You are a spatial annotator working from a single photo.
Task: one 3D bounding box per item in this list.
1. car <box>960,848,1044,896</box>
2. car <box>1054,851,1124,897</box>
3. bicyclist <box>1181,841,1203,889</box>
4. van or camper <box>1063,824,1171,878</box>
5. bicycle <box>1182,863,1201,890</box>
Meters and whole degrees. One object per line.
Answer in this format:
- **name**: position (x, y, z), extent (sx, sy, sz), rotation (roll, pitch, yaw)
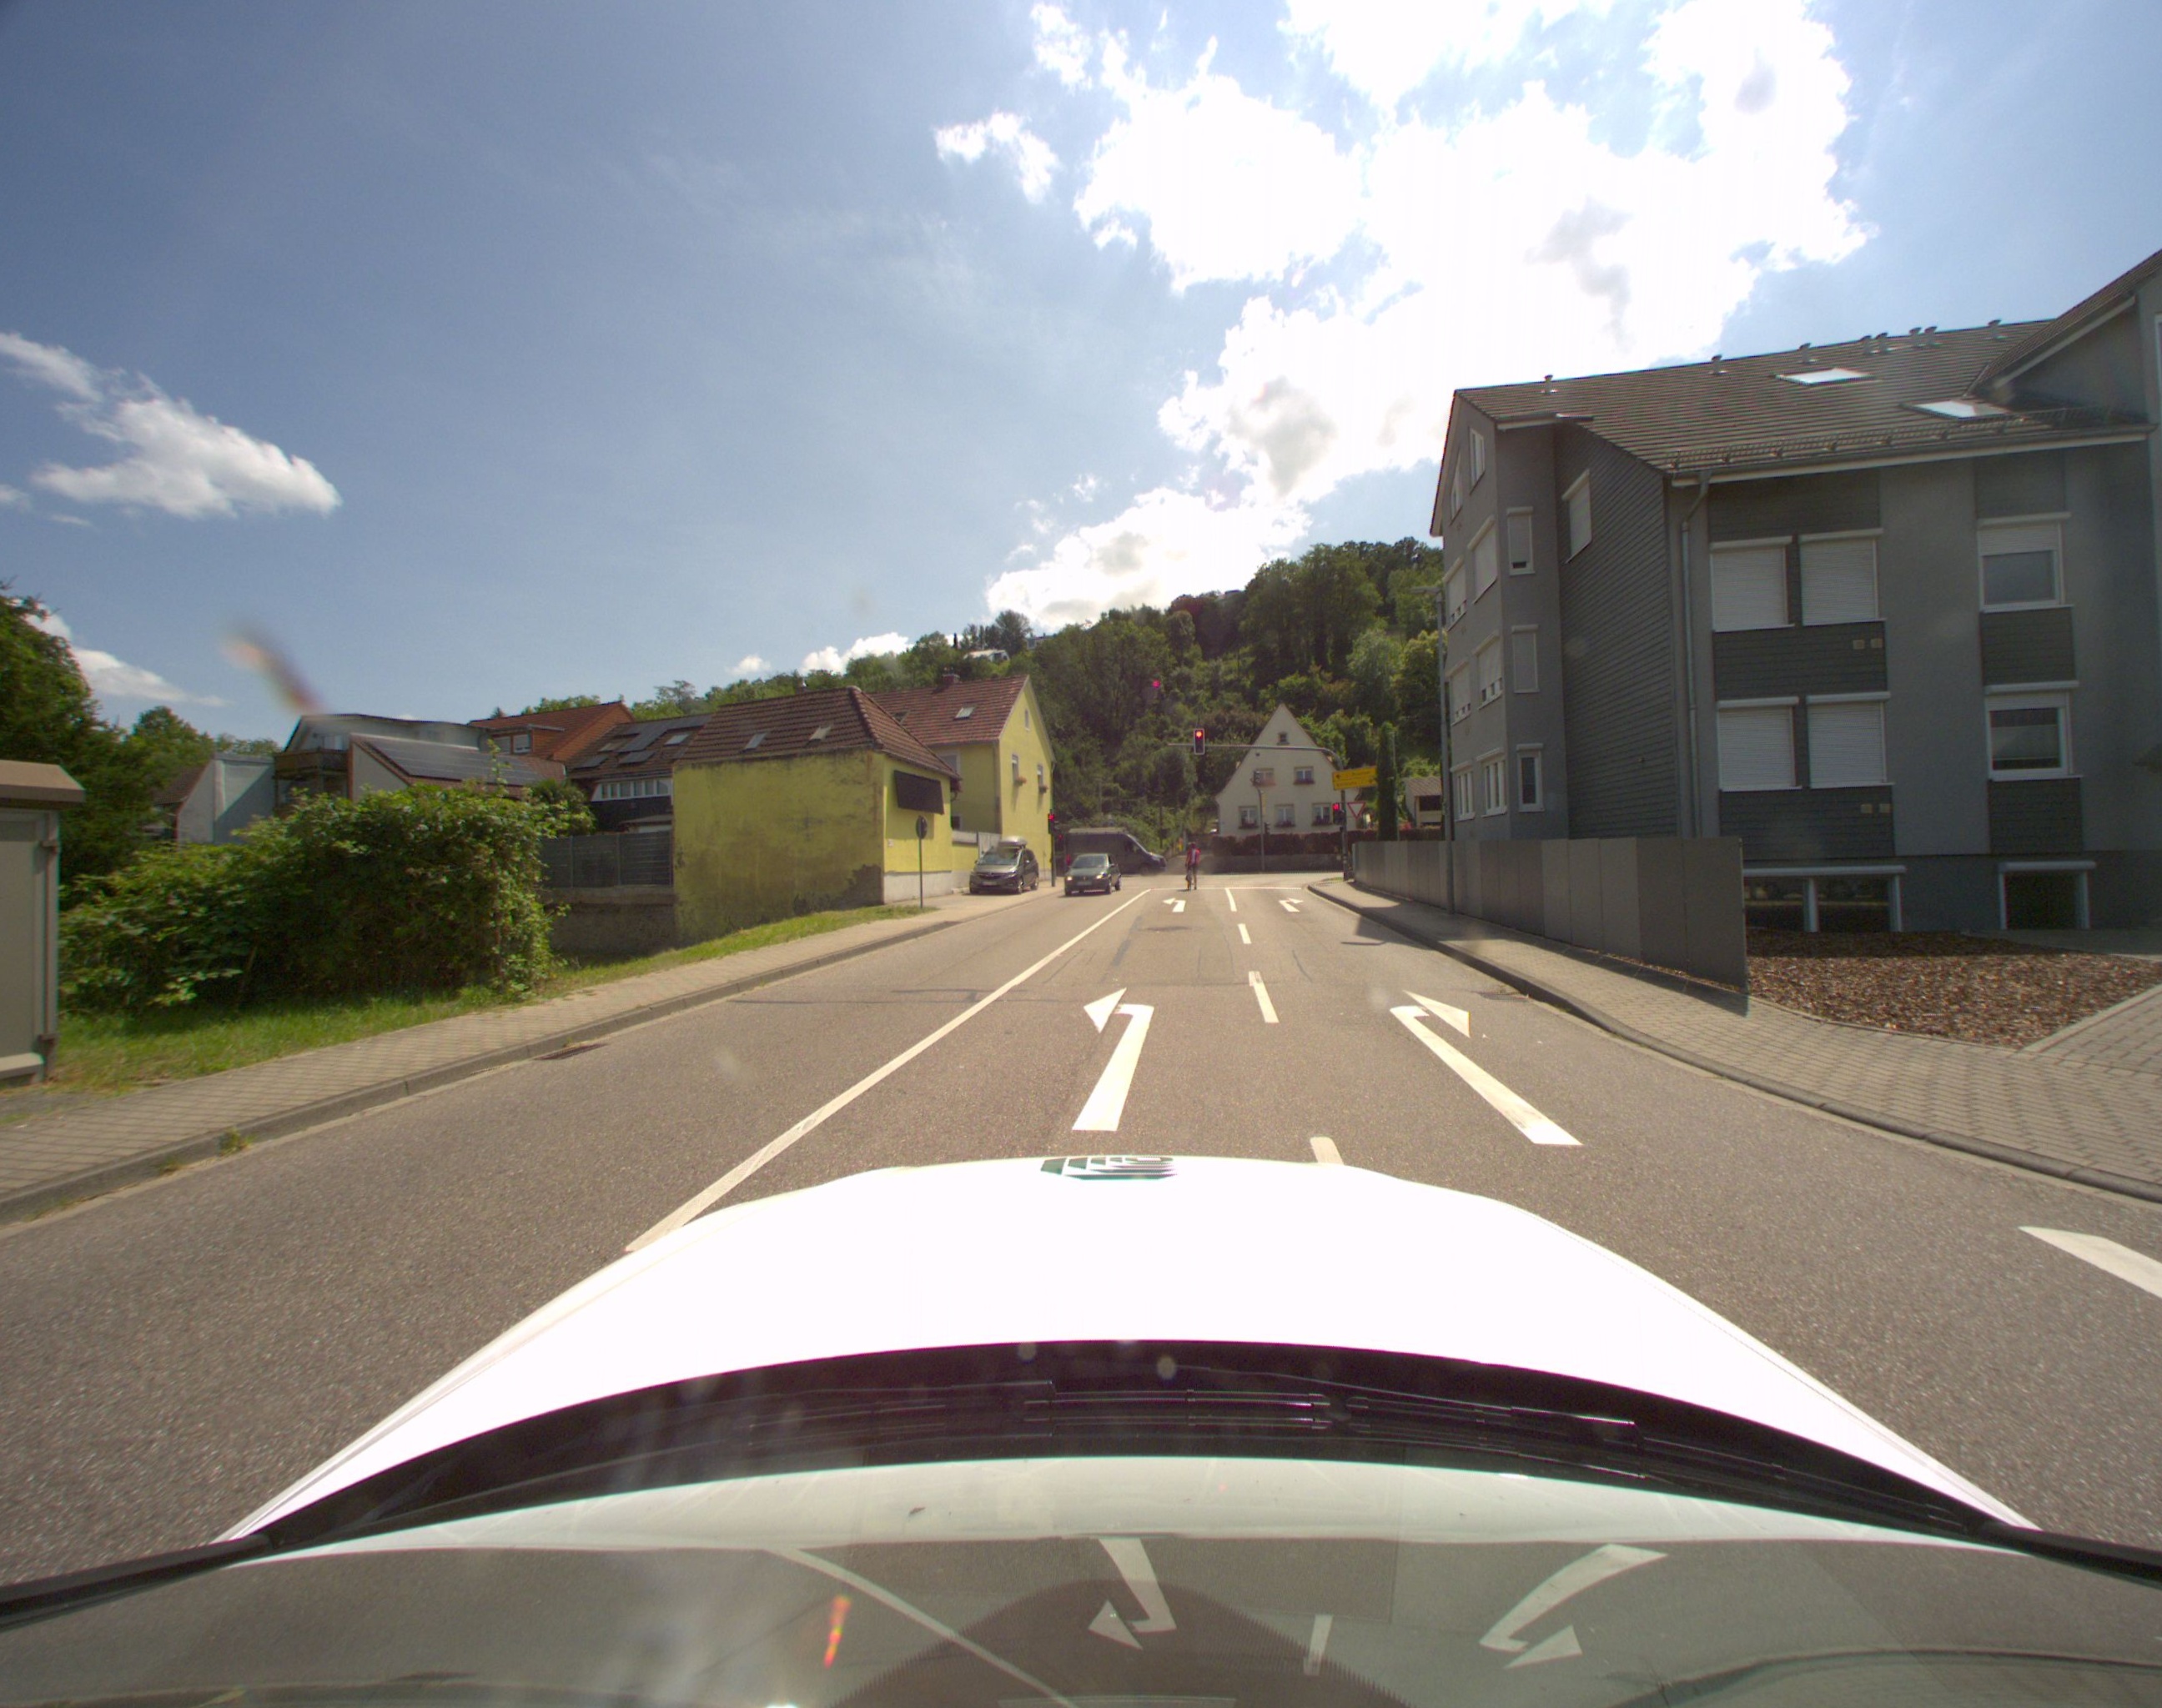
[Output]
- **car**: position (-2.814, 0.599, 30.124), extent (1.982, 1.635, 4.642), rotation (0, 0, 9)
- **car**: position (0.360, 0.655, 28.726), extent (1.769, 1.433, 3.883), rotation (-3, 0, 10)
- **bicyclist**: position (3.920, 0.395, 28.728), extent (0.756, 1.664, 0.870), rotation (0, 0, 8)
- **van or camper**: position (2.139, -0.156, 48.275), extent (5.946, 3.004, 2.228), rotation (-2, 0, 16)
- **bicycle**: position (3.879, 0.787, 28.613), extent (0.626, 0.905, 1.661), rotation (0, 0, 8)
